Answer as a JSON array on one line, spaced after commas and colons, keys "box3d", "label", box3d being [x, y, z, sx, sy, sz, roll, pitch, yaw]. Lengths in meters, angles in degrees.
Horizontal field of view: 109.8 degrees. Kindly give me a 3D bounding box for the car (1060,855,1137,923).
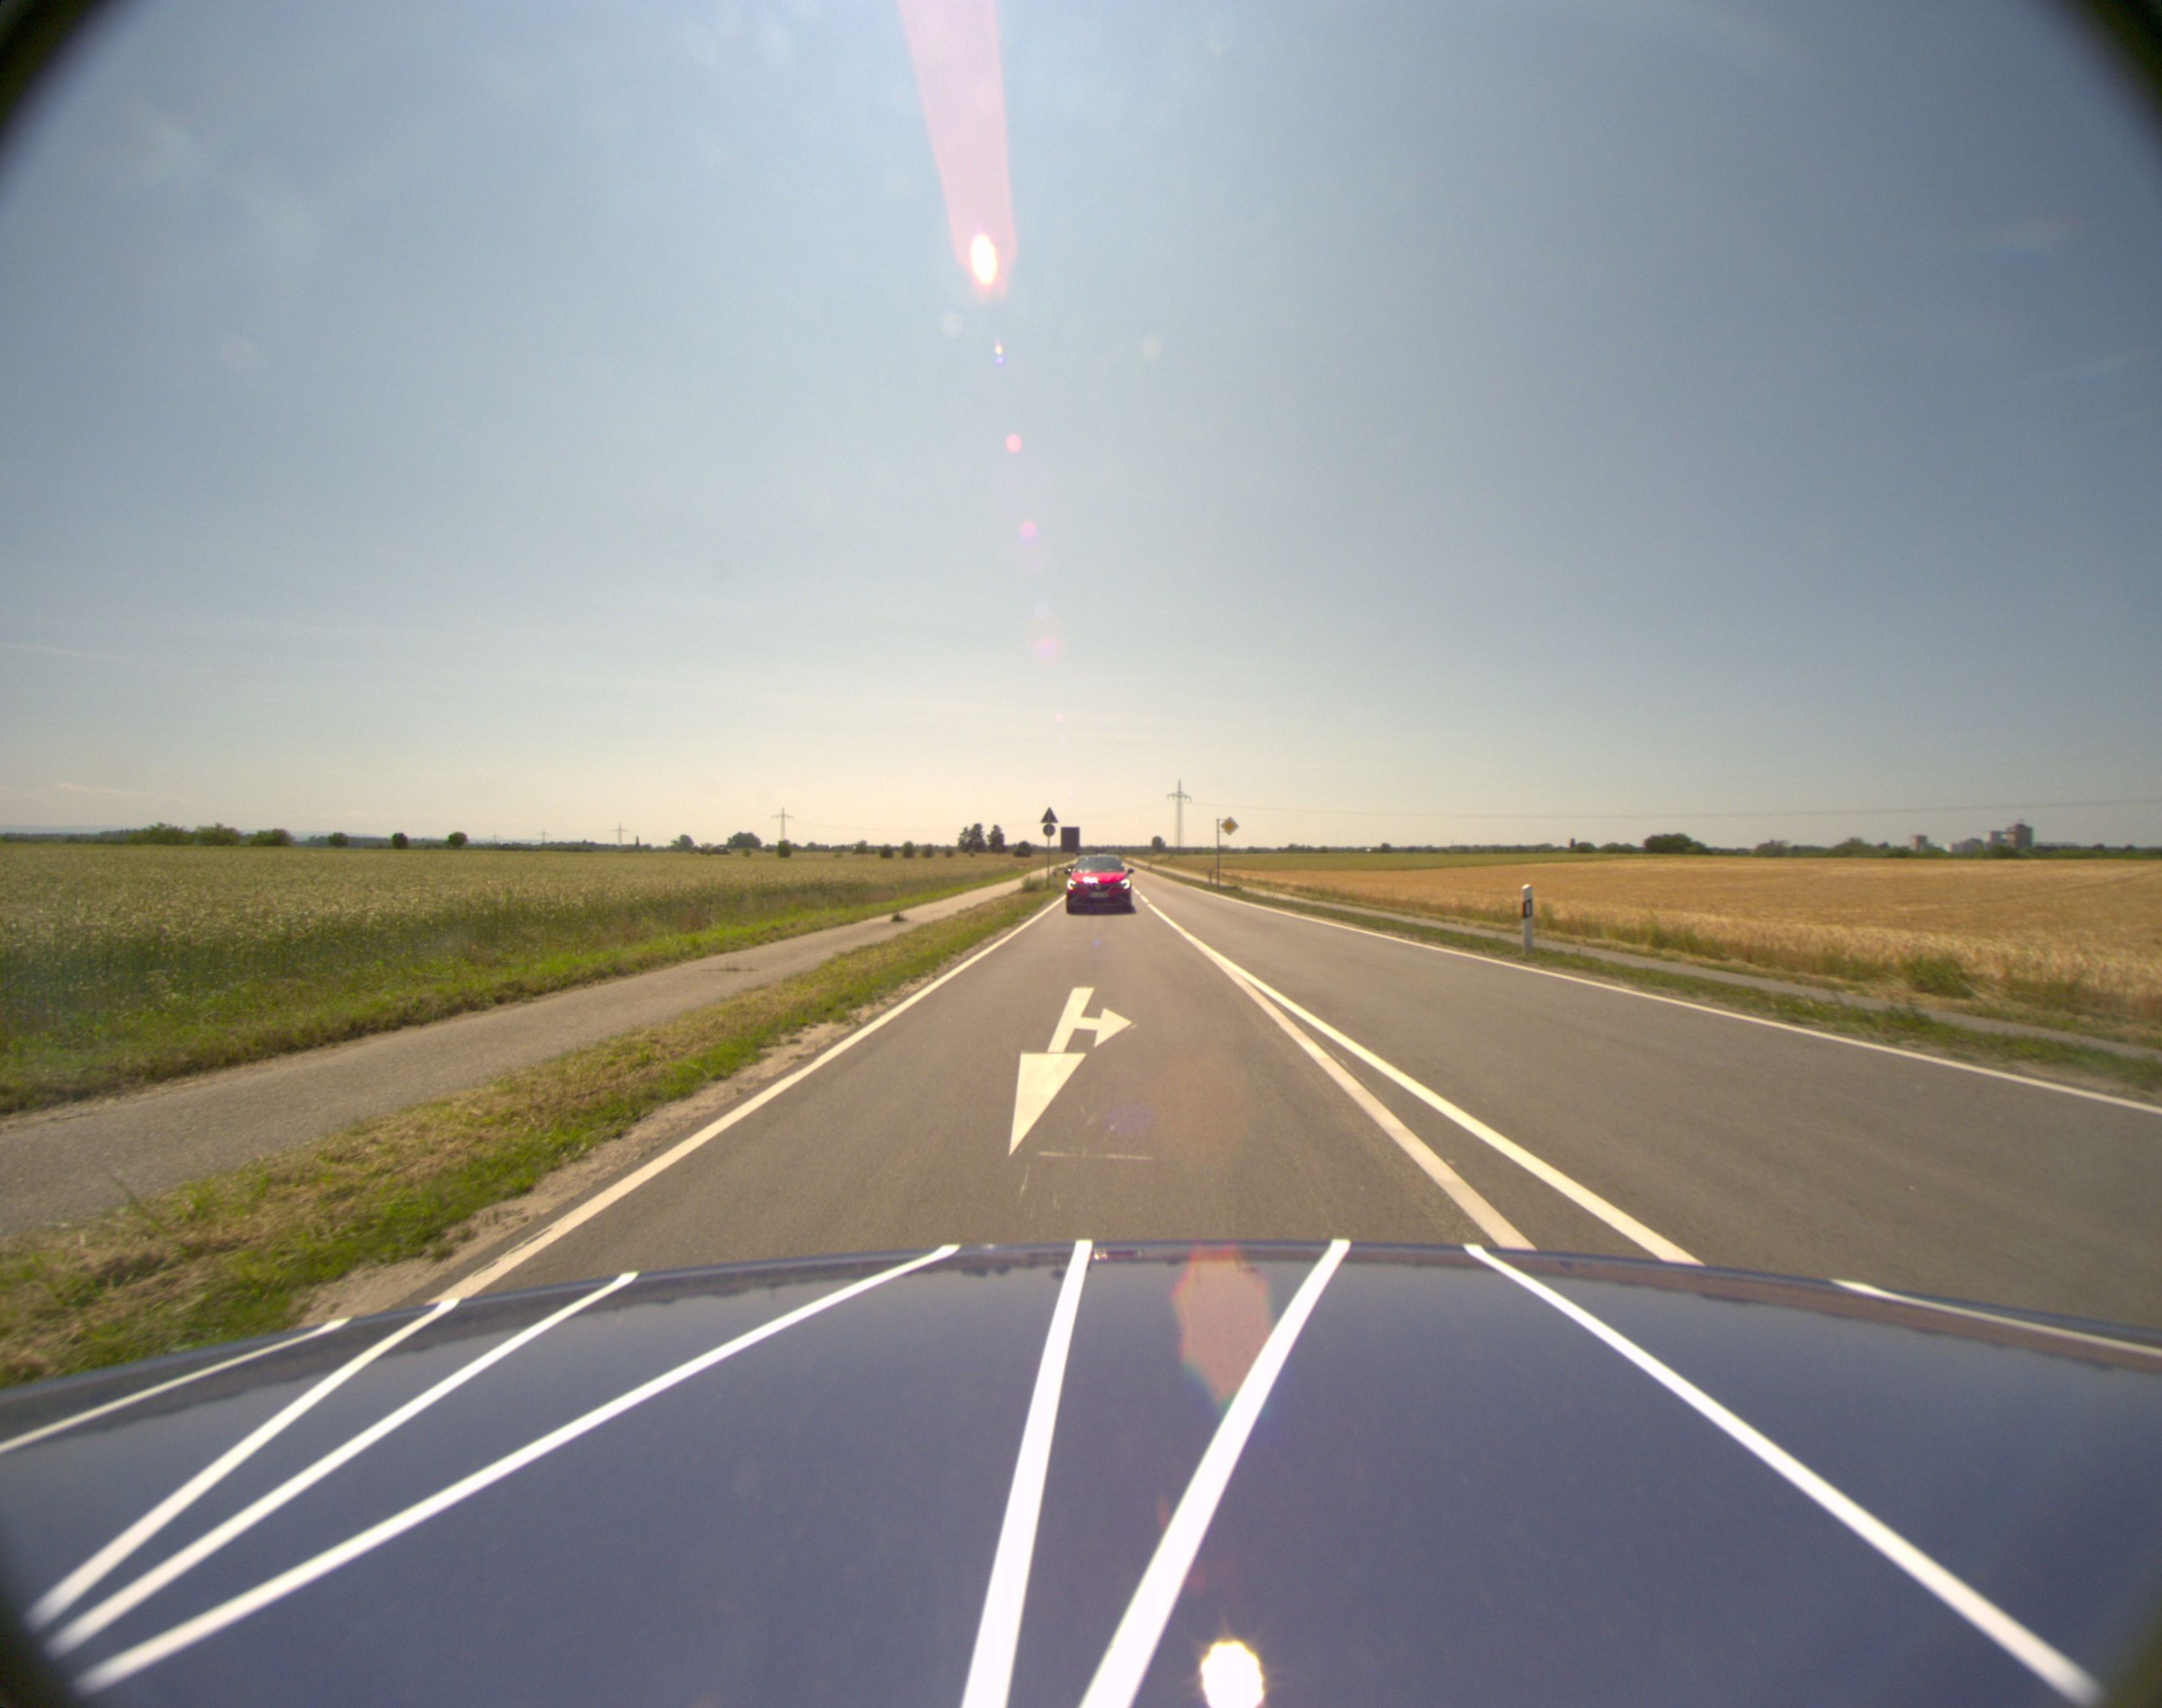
[{"box3d": [0.458, 0.853, 20.556, 1.826, 1.543, 4.449, -2, 0, 1], "label": "car"}]
